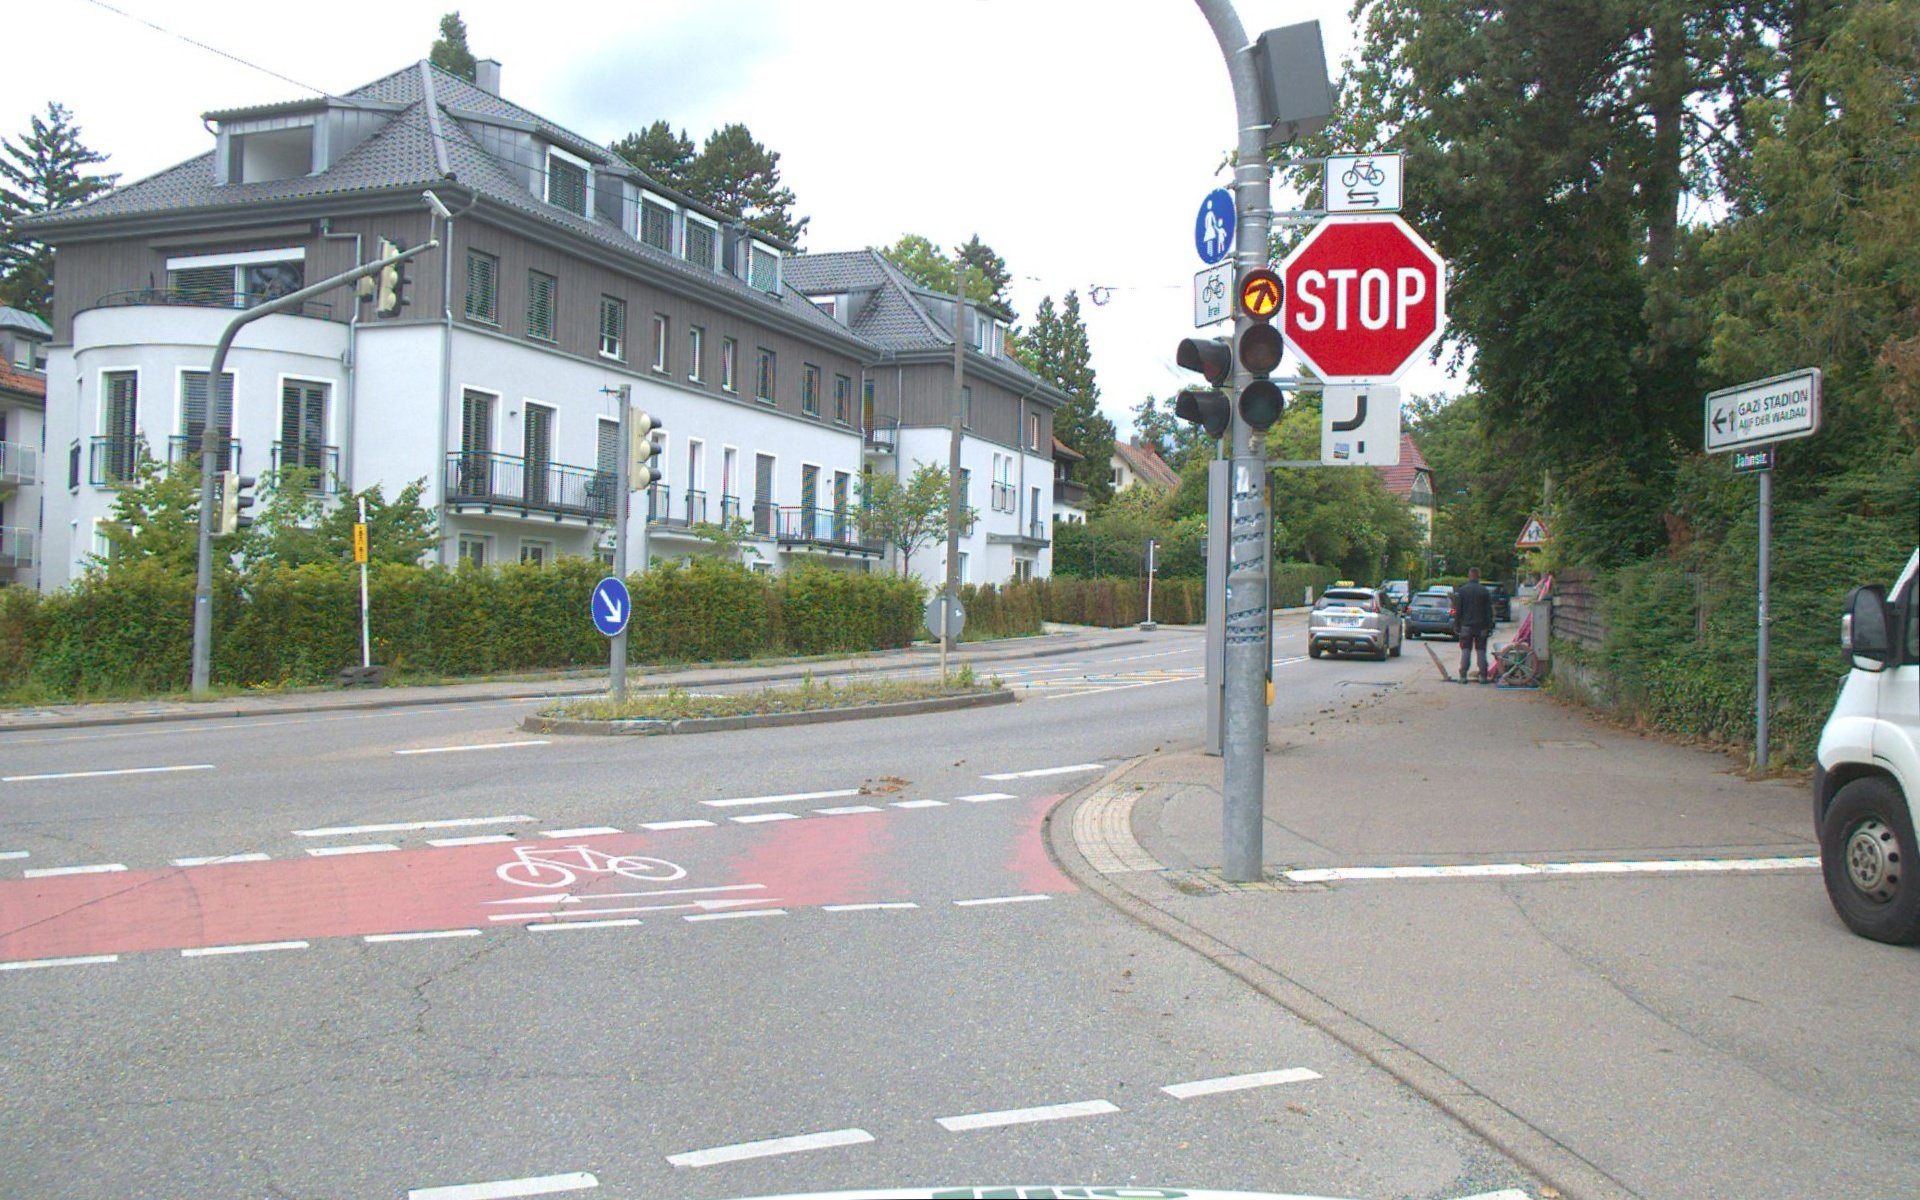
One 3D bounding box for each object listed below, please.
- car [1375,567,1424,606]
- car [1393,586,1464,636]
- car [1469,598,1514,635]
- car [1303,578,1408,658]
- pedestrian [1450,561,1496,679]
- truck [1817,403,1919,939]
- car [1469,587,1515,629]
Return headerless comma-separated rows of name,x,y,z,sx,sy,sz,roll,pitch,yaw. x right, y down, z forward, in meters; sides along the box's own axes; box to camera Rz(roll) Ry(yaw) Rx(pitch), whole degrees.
car,22.415,-0.660,84.215,1.873,1.913,5.142,-1,-1,21
car,15.279,0.335,53.783,1.763,1.553,4.743,-1,0,21
car,22.154,0.661,68.851,1.659,1.455,3.749,-1,0,20
car,9.489,0.401,39.464,1.770,1.784,4.486,-1,0,22
pedestrian,8.541,0.324,27.548,0.584,1.940,0.558,1,0,0
truck,5.131,0.315,5.024,2.162,2.283,5.724,1,0,1
car,26.140,0.375,81.181,1.879,1.927,4.909,2,1,20
